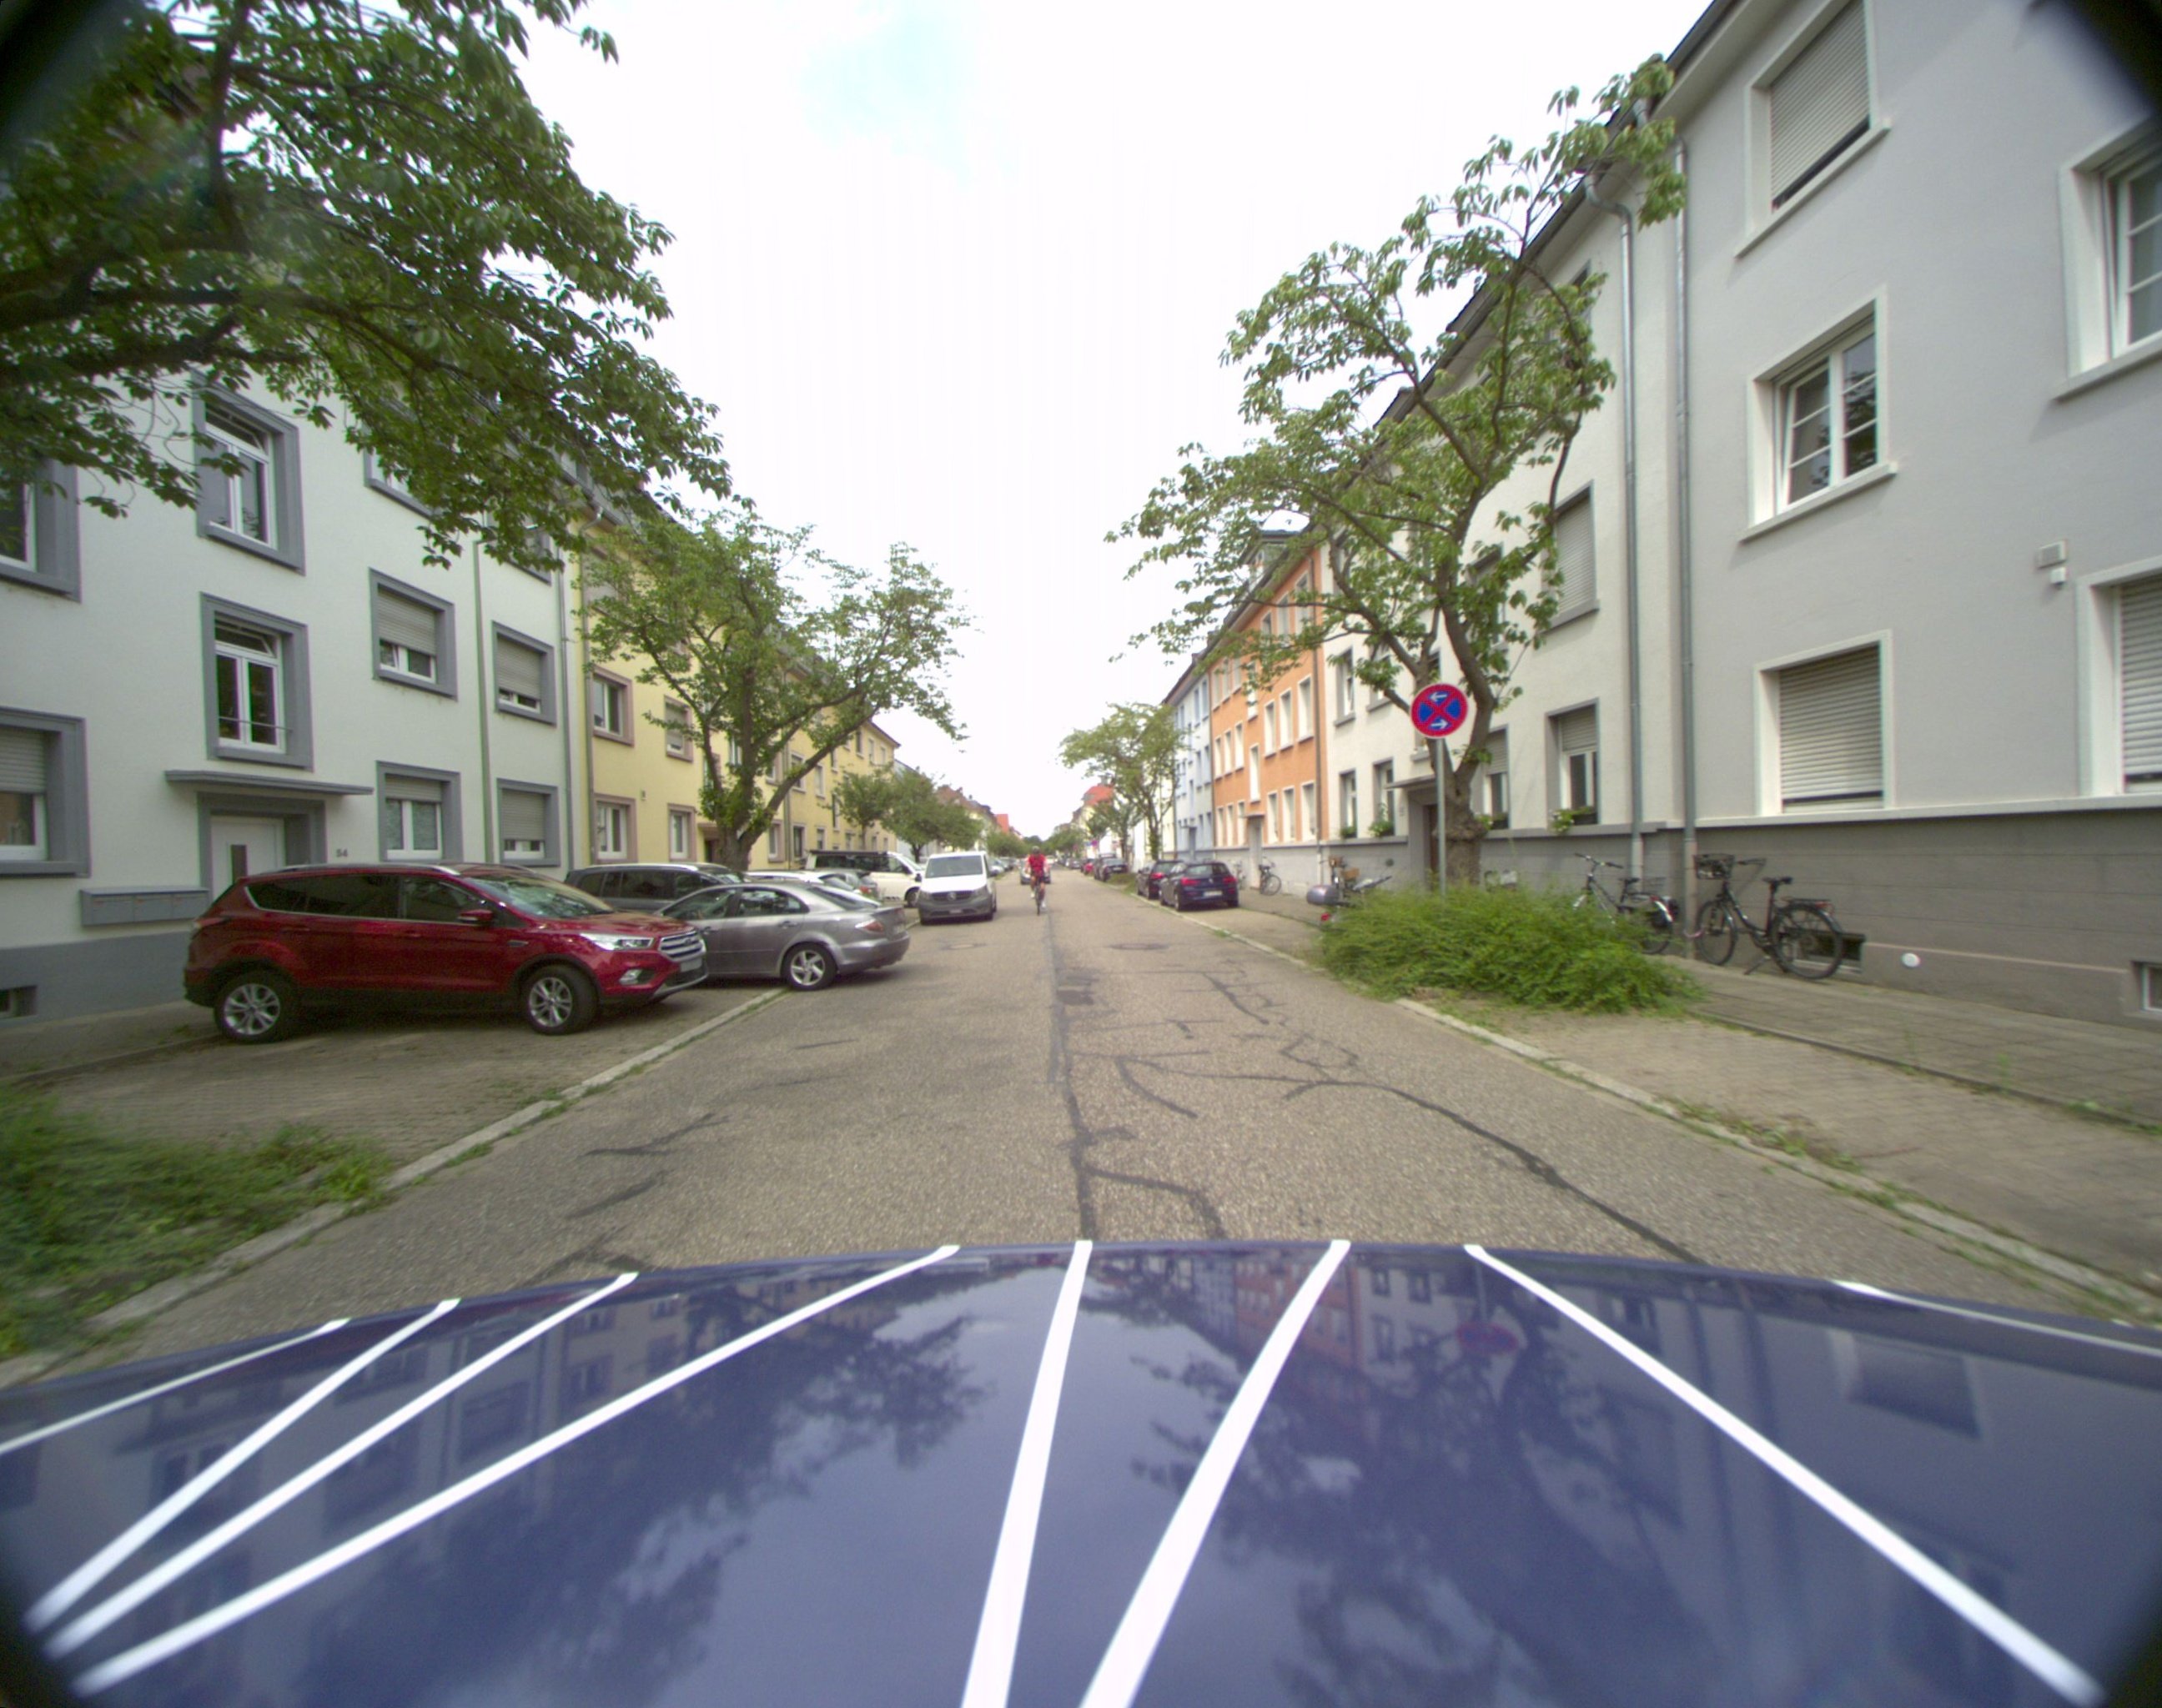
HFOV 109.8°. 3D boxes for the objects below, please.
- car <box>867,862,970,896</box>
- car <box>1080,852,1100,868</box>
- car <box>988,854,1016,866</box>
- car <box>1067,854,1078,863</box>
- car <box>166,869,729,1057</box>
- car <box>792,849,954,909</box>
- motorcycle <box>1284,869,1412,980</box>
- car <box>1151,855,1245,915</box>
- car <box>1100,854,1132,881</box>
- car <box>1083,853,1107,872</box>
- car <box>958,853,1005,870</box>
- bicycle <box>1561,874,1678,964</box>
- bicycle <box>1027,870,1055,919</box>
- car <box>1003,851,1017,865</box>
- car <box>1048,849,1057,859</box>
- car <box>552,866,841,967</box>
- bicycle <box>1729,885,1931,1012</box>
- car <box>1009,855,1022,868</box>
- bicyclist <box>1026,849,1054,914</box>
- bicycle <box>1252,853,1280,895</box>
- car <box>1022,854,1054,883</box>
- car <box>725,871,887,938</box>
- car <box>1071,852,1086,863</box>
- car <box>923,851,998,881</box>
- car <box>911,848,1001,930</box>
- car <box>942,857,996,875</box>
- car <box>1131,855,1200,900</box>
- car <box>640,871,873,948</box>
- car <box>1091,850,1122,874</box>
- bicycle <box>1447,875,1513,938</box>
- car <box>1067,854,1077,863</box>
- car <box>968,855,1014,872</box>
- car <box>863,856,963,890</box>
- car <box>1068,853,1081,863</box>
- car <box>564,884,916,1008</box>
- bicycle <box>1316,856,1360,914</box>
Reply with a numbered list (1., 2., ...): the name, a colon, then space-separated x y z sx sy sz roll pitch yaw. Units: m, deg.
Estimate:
1. car: -7.608 1.169 35.908 4.560 1.501 1.849 0 1 -5
2. car: 0.911 0.582 76.534 1.712 1.477 3.441 0 1 -5
3. car: -10.022 0.744 96.586 3.442 1.438 1.646 -2 0 -6
4. car: -1.430 0.775 125.771 1.711 1.495 3.442 0 1 -3
5. car: -6.220 1.020 7.903 4.225 1.668 1.903 0 1 0
6. car: -7.188 0.843 26.783 5.245 2.011 2.072 0 1 -7
7. motorcycle: 3.840 0.939 10.836 2.022 1.399 0.790 0 1 -40
8. car: 3.419 0.866 23.022 1.841 1.475 4.119 -4 1 -5
9. car: 2.203 0.833 48.574 1.706 1.533 4.248 -2 1 -2
10. car: 1.193 0.743 67.578 1.712 1.591 4.114 0 1 -5
11. car: -9.600 0.723 73.787 4.404 1.527 1.870 0 1 -3
12. bicycle: 6.771 0.785 9.626 0.421 1.001 1.434 0 1 -1
13. bicycle: -1.128 1.104 21.298 0.693 1.220 1.936 -2 1 -3
14. car: -9.502 0.553 102.278 1.646 1.817 3.442 -2 1 -3
15. car: -6.247 0.036 165.855 1.757 2.098 3.620 0 1 -3
16. car: -6.295 0.995 12.780 3.998 1.527 1.637 0 1 -3
17. bicycle: 6.879 0.821 7.077 0.421 1.001 1.434 0 1 -1
18. car: -9.326 1.024 107.812 1.646 1.666 3.442 -2 0 -3
19. bicyclist: -1.141 0.756 21.269 0.694 1.760 0.986 -2 1 -3
20. bicycle: 6.103 0.653 25.169 0.430 1.326 1.811 0 1 -1
21. car: -2.657 0.865 47.122 1.789 1.595 4.834 -2 1 -3
22. car: -6.888 1.253 19.349 3.488 1.565 1.814 0 1 -4
23. car: -0.344 0.424 97.677 1.712 1.438 3.441 0 1 -5
24. car: -7.968 0.780 50.533 4.752 1.899 1.850 0 1 -3
25. car: -3.358 0.853 21.266 1.999 1.904 4.701 -3 1 -5
26. car: -9.434 1.037 64.479 4.405 1.491 1.710 0 1 -4
27. car: 3.145 0.842 29.077 1.842 1.475 4.091 -3 1 -5
28. car: -6.413 1.087 15.370 3.998 1.412 1.637 0 1 -3
29. car: 1.799 0.571 54.990 1.698 1.573 4.247 -3 1 -4
30. bicycle: 6.690 0.854 12.786 0.310 0.961 1.434 0 1 -1
31. car: -1.601 0.733 133.610 1.626 1.495 3.442 0 1 -3
32. car: -9.659 0.981 81.758 4.721 1.817 1.870 0 1 -3
33. car: -7.370 0.818 33.621 4.104 1.406 1.849 0 1 -5
34. car: -0.992 0.592 110.831 1.711 1.495 3.442 0 1 -3
35. car: -4.410 1.182 10.351 3.998 1.446 1.766 0 1 -3
36. bicycle: 6.304 0.730 18.710 0.430 1.326 1.811 0 1 -1
